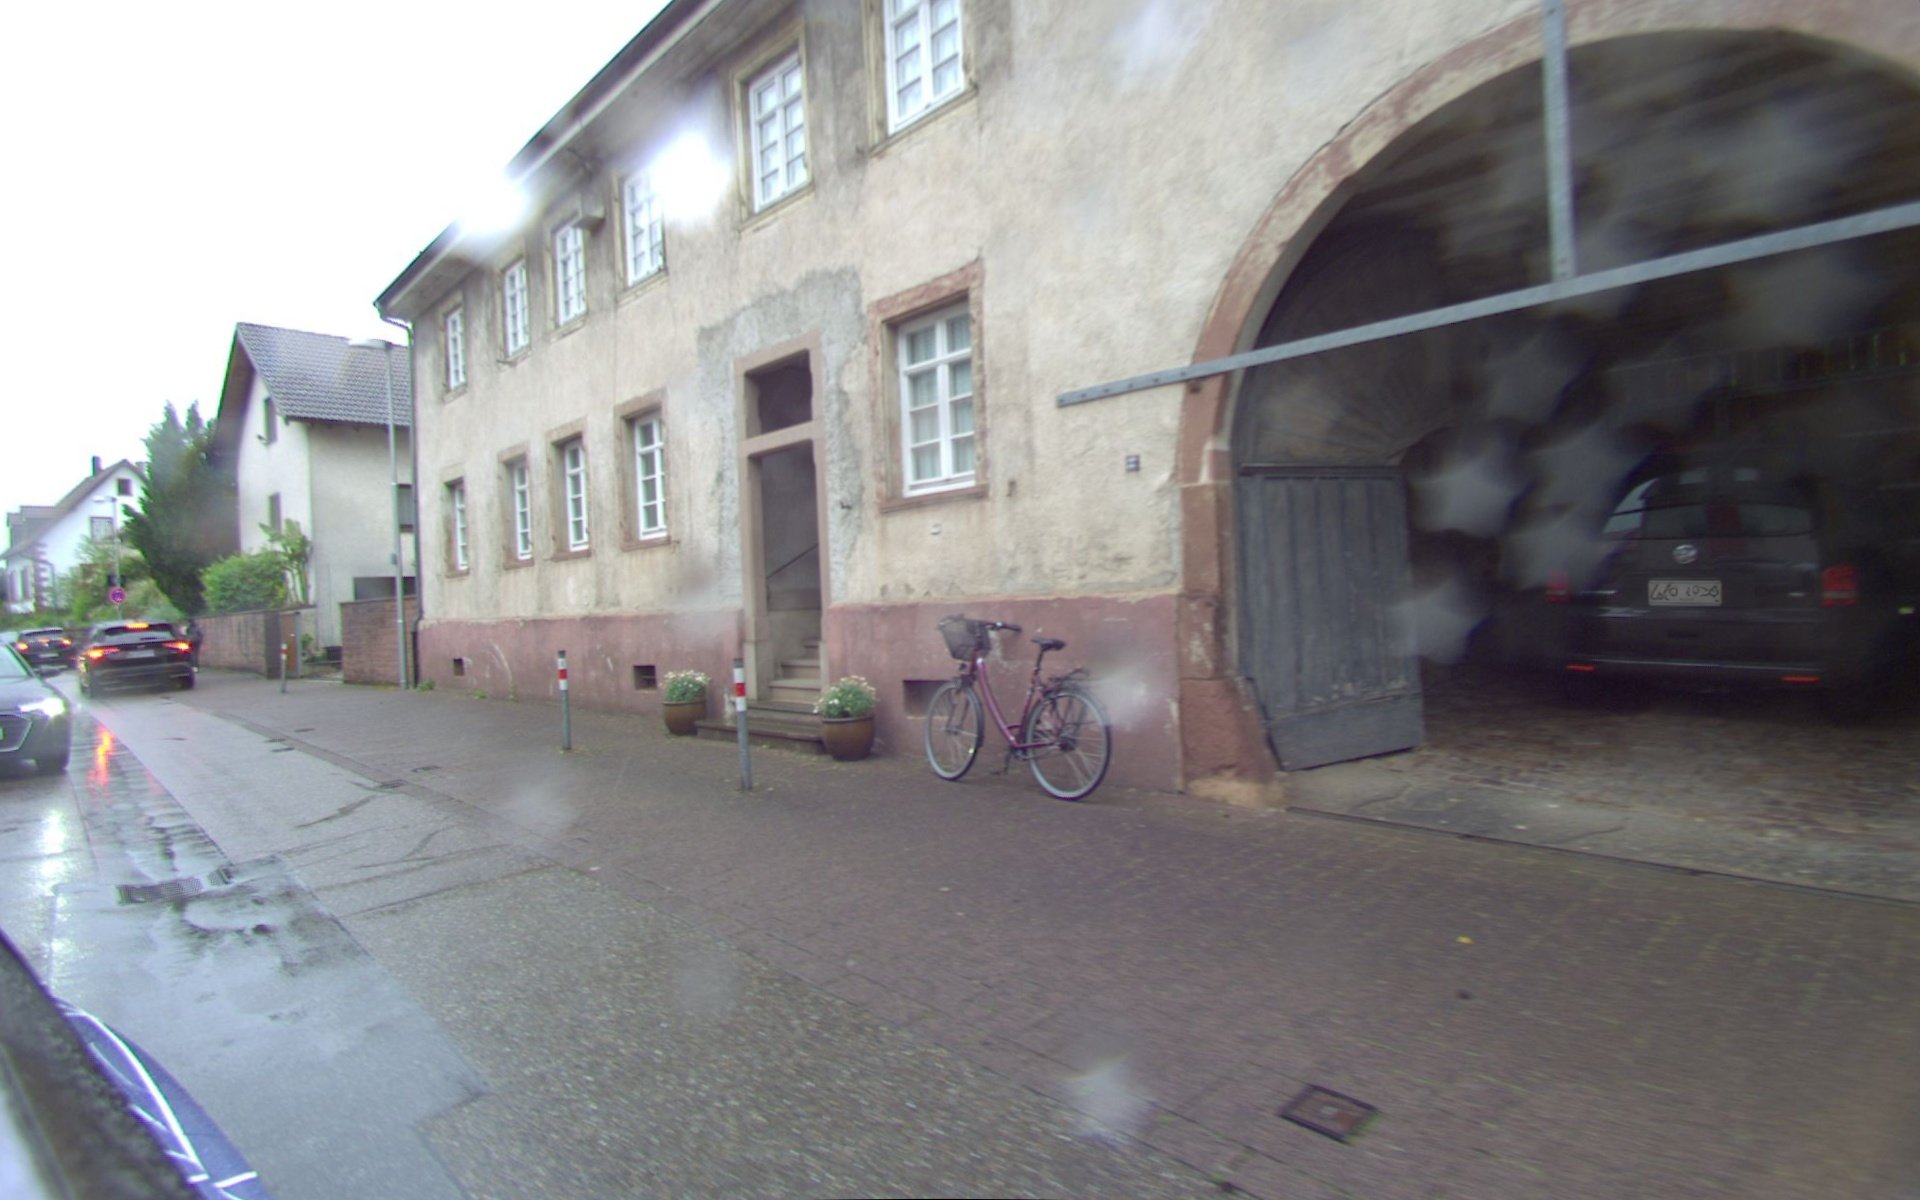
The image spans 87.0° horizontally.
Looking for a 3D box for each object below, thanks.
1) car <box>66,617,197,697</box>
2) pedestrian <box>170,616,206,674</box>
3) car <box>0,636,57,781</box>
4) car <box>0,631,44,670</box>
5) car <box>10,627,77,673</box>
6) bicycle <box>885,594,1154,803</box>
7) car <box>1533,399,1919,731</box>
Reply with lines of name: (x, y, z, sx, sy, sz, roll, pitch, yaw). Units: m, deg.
car: (-18.801, 1.227, 22.899, 4.241, 1.567, 1.812, -2, 0, 45)
pedestrian: (-21.527, 1.242, 28.226, 0.833, 1.549, 0.566, -2, 2, 41)
car: (-10.983, 1.105, 10.863, 1.715, 1.381, 4.104, -1, -1, -45)
car: (-39.714, 2.079, 42.389, 4.342, 1.520, 1.677, -2, -1, 44)
car: (-33.191, 1.779, 36.629, 1.586, 1.524, 3.690, -3, 0, -45)
bicycle: (0.327, 0.606, 6.712, 0.476, 1.187, 1.875, -5, 2, -44)
car: (6.334, -0.400, 8.052, 4.178, 1.946, 1.887, -9, 4, -44)
